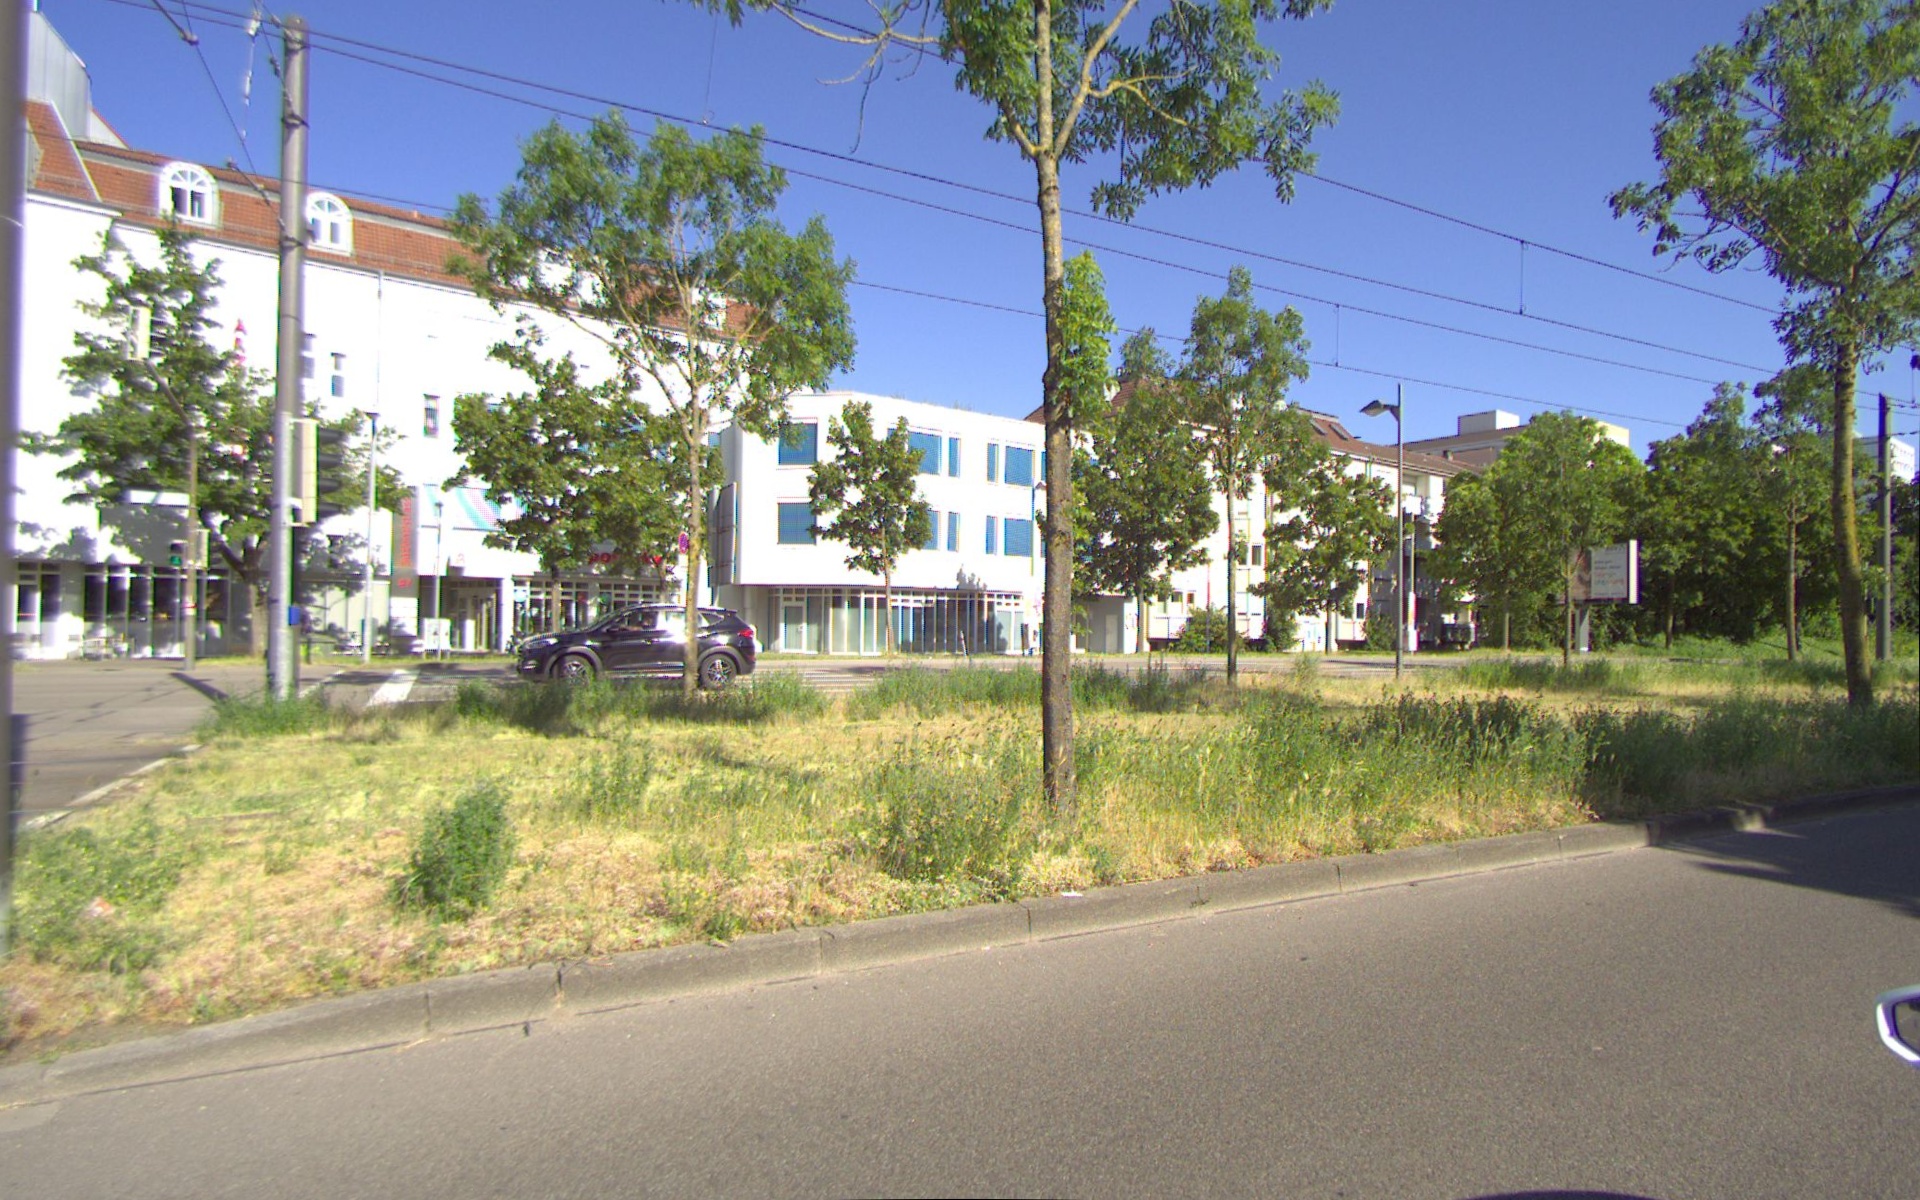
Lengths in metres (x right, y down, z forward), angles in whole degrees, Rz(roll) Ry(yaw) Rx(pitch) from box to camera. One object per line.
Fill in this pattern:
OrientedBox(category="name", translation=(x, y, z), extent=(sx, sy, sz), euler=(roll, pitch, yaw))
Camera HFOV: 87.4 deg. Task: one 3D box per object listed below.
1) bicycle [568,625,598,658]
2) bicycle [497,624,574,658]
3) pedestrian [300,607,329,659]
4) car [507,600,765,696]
OrientedBox(category="bicycle", translation=(-14.544, 1.590, 38.704), extent=(0.711, 1.229, 2.533), euler=(1, -2, -29))
OrientedBox(category="bicycle", translation=(-15.566, 1.510, 36.881), extent=(2.522, 1.229, 0.714), euler=(1, -2, -30))
OrientedBox(category="pedestrian", translation=(-21.696, 1.113, 33.751), extent=(0.772, 1.713, 0.795), euler=(1, -1, -35))
OrientedBox(category="car", translation=(-6.149, 0.892, 19.191), extent=(4.434, 1.662, 1.811), euler=(1, -2, -29))
